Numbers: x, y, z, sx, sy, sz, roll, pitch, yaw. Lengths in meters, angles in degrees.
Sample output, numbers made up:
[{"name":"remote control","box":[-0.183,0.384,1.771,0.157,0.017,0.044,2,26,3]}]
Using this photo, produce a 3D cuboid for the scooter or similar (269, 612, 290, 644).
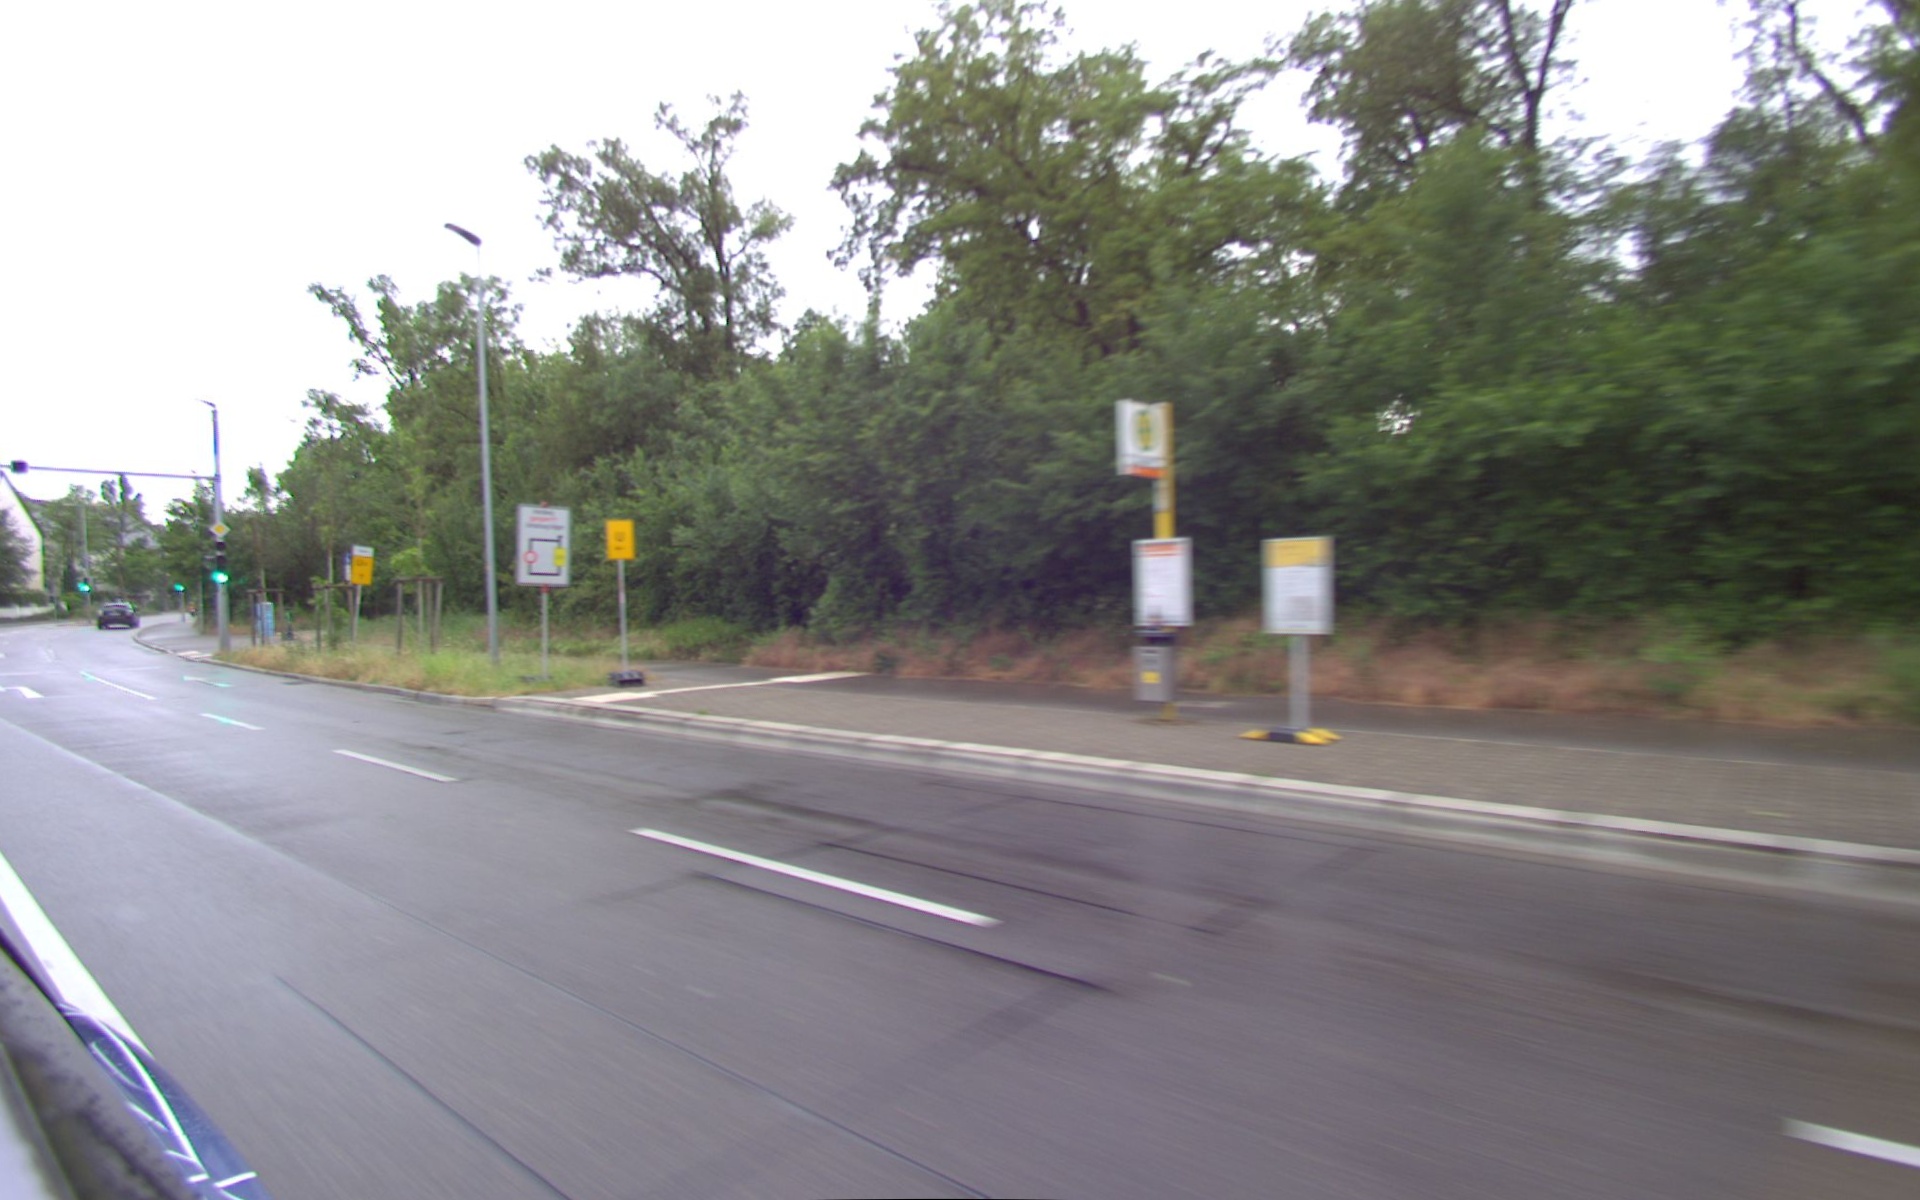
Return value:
[{"name":"scooter or similar","box":[-26.293,1.070,39.088,0.511,1.221,1.472,-2,1,-39]}]

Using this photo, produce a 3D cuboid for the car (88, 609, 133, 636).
[{"name":"car","box":[-53.412,1.403,63.692,1.765,1.593,4.572,-1,0,-35]}]

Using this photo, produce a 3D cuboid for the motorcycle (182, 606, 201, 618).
[{"name":"motorcycle","box":[-66.397,1.027,87.443,0.586,1.058,2.005,-1,0,-17]}]

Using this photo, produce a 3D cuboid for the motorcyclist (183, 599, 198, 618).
[{"name":"motorcyclist","box":[-66.375,0.736,87.336,0.735,1.644,0.930,-1,0,-18]}]
